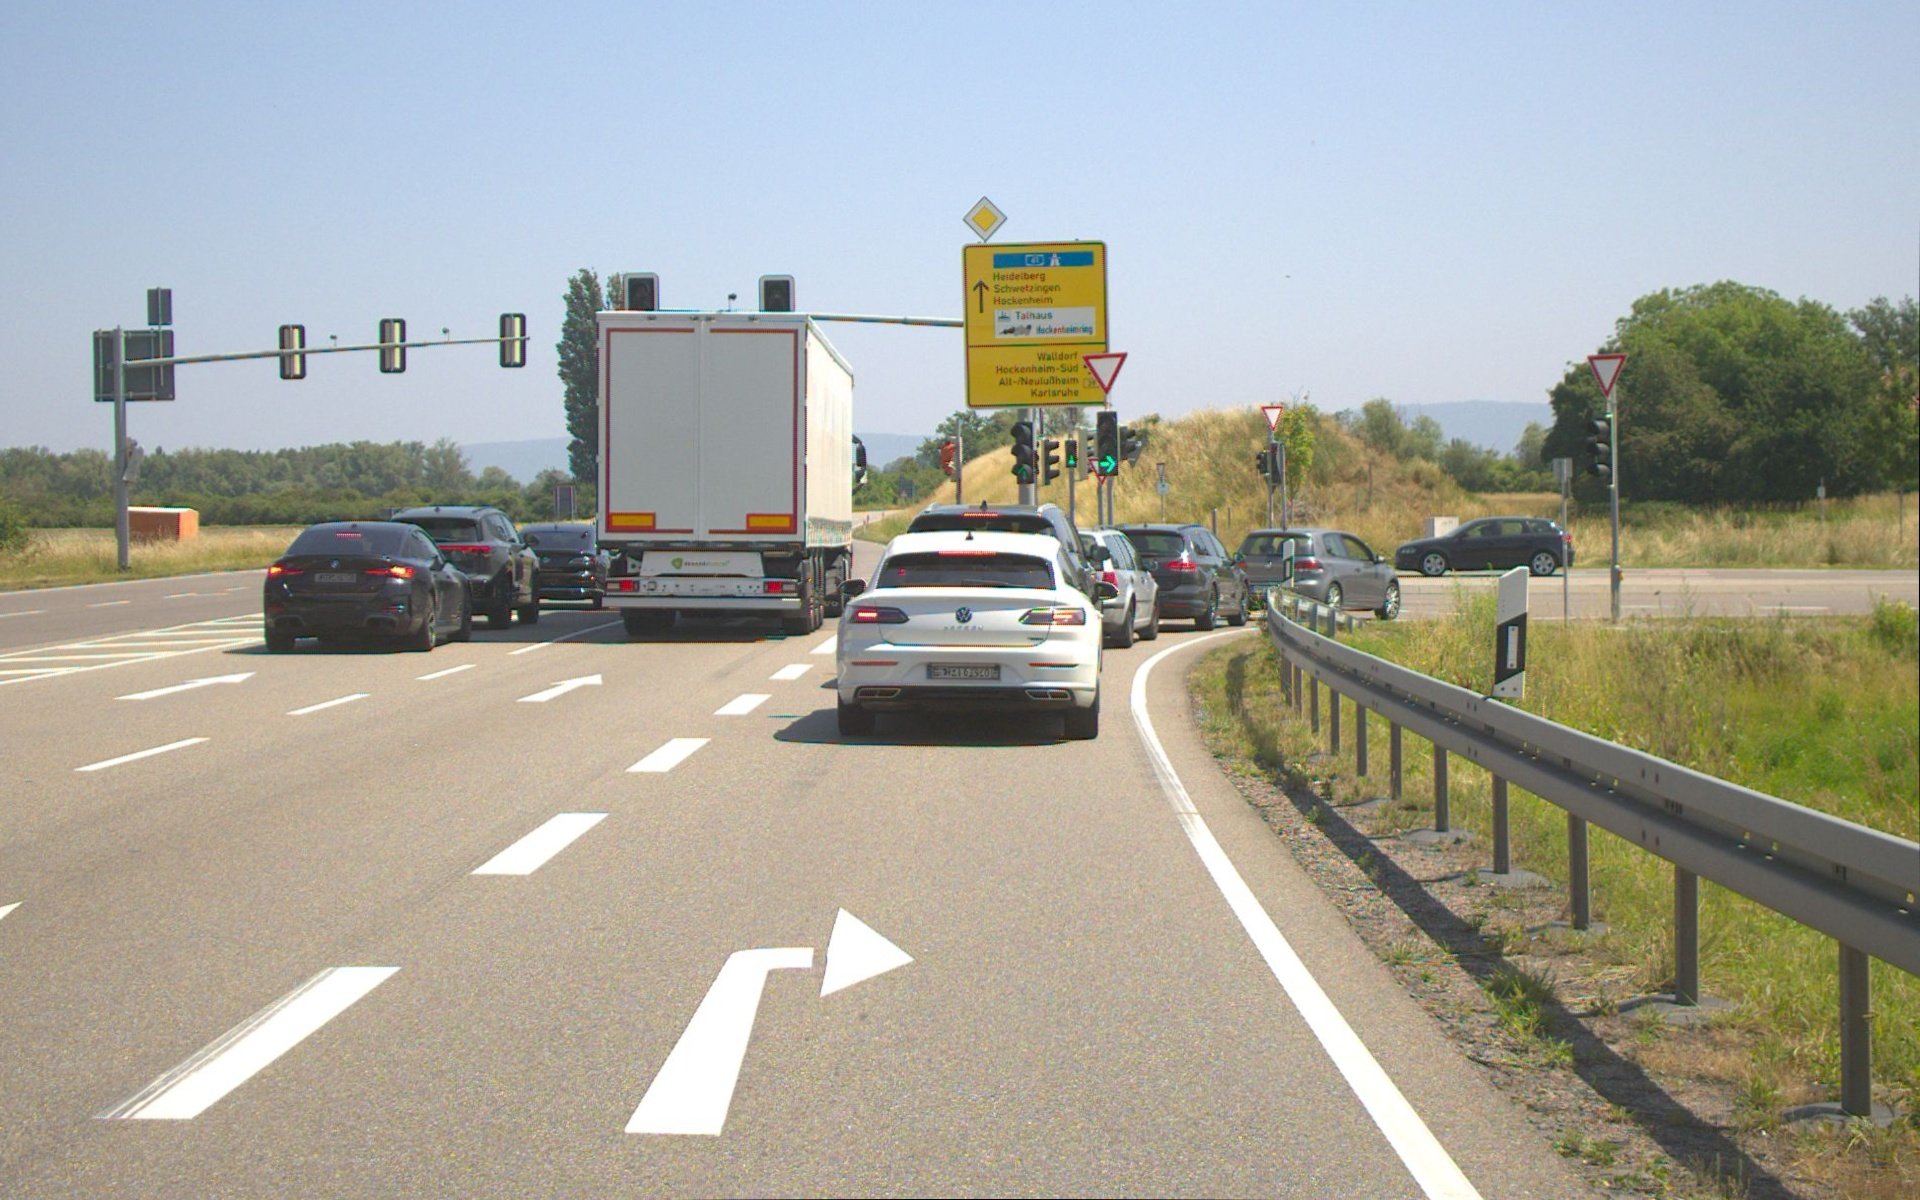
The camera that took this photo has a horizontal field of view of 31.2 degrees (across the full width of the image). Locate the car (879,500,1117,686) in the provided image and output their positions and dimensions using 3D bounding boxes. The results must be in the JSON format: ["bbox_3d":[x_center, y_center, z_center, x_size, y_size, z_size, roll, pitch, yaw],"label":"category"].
[{"bbox_3d":[0.432,-0.103,32.350,1.935,1.611,4.378,1,1,5],"label":"car"}]

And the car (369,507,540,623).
[{"bbox_3d":[-6.862,-0.495,46.982,1.809,1.488,4.022,1,1,-1],"label":"car"}]

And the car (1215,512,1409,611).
[{"bbox_3d":[5.661,-0.623,54.929,1.802,1.516,3.877,1,1,27],"label":"car"}]

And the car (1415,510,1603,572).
[{"bbox_3d":[13.065,-1.414,82.021,4.260,1.364,1.776,-1,3,4],"label":"car"}]

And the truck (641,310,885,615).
[{"bbox_3d":[-3.031,-2.143,54.855,3.381,4.527,6.372,1,1,1],"label":"truck"}]

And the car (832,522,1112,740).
[{"bbox_3d":[0.107,0.164,25.119,1.848,1.428,4.608,0,1,1],"label":"car"}]

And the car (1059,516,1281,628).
[{"bbox_3d":[2.967,-0.408,47.615,1.802,1.471,4.410,1,1,21],"label":"car"}]

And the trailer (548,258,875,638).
[{"bbox_3d":[-3.146,-1.975,47.720,3.381,4.527,12.872,1,1,1],"label":"trailer"}]

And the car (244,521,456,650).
[{"bbox_3d":[-6.996,-0.196,39.795,1.809,1.393,4.022,1,1,-1],"label":"car"}]

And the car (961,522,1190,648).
[{"bbox_3d":[1.444,-0.210,41.413,1.801,1.424,4.090,1,1,16],"label":"car"}]

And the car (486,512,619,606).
[{"bbox_3d":[-6.766,-0.698,57.380,1.809,1.488,4.022,1,1,-1],"label":"car"}]
